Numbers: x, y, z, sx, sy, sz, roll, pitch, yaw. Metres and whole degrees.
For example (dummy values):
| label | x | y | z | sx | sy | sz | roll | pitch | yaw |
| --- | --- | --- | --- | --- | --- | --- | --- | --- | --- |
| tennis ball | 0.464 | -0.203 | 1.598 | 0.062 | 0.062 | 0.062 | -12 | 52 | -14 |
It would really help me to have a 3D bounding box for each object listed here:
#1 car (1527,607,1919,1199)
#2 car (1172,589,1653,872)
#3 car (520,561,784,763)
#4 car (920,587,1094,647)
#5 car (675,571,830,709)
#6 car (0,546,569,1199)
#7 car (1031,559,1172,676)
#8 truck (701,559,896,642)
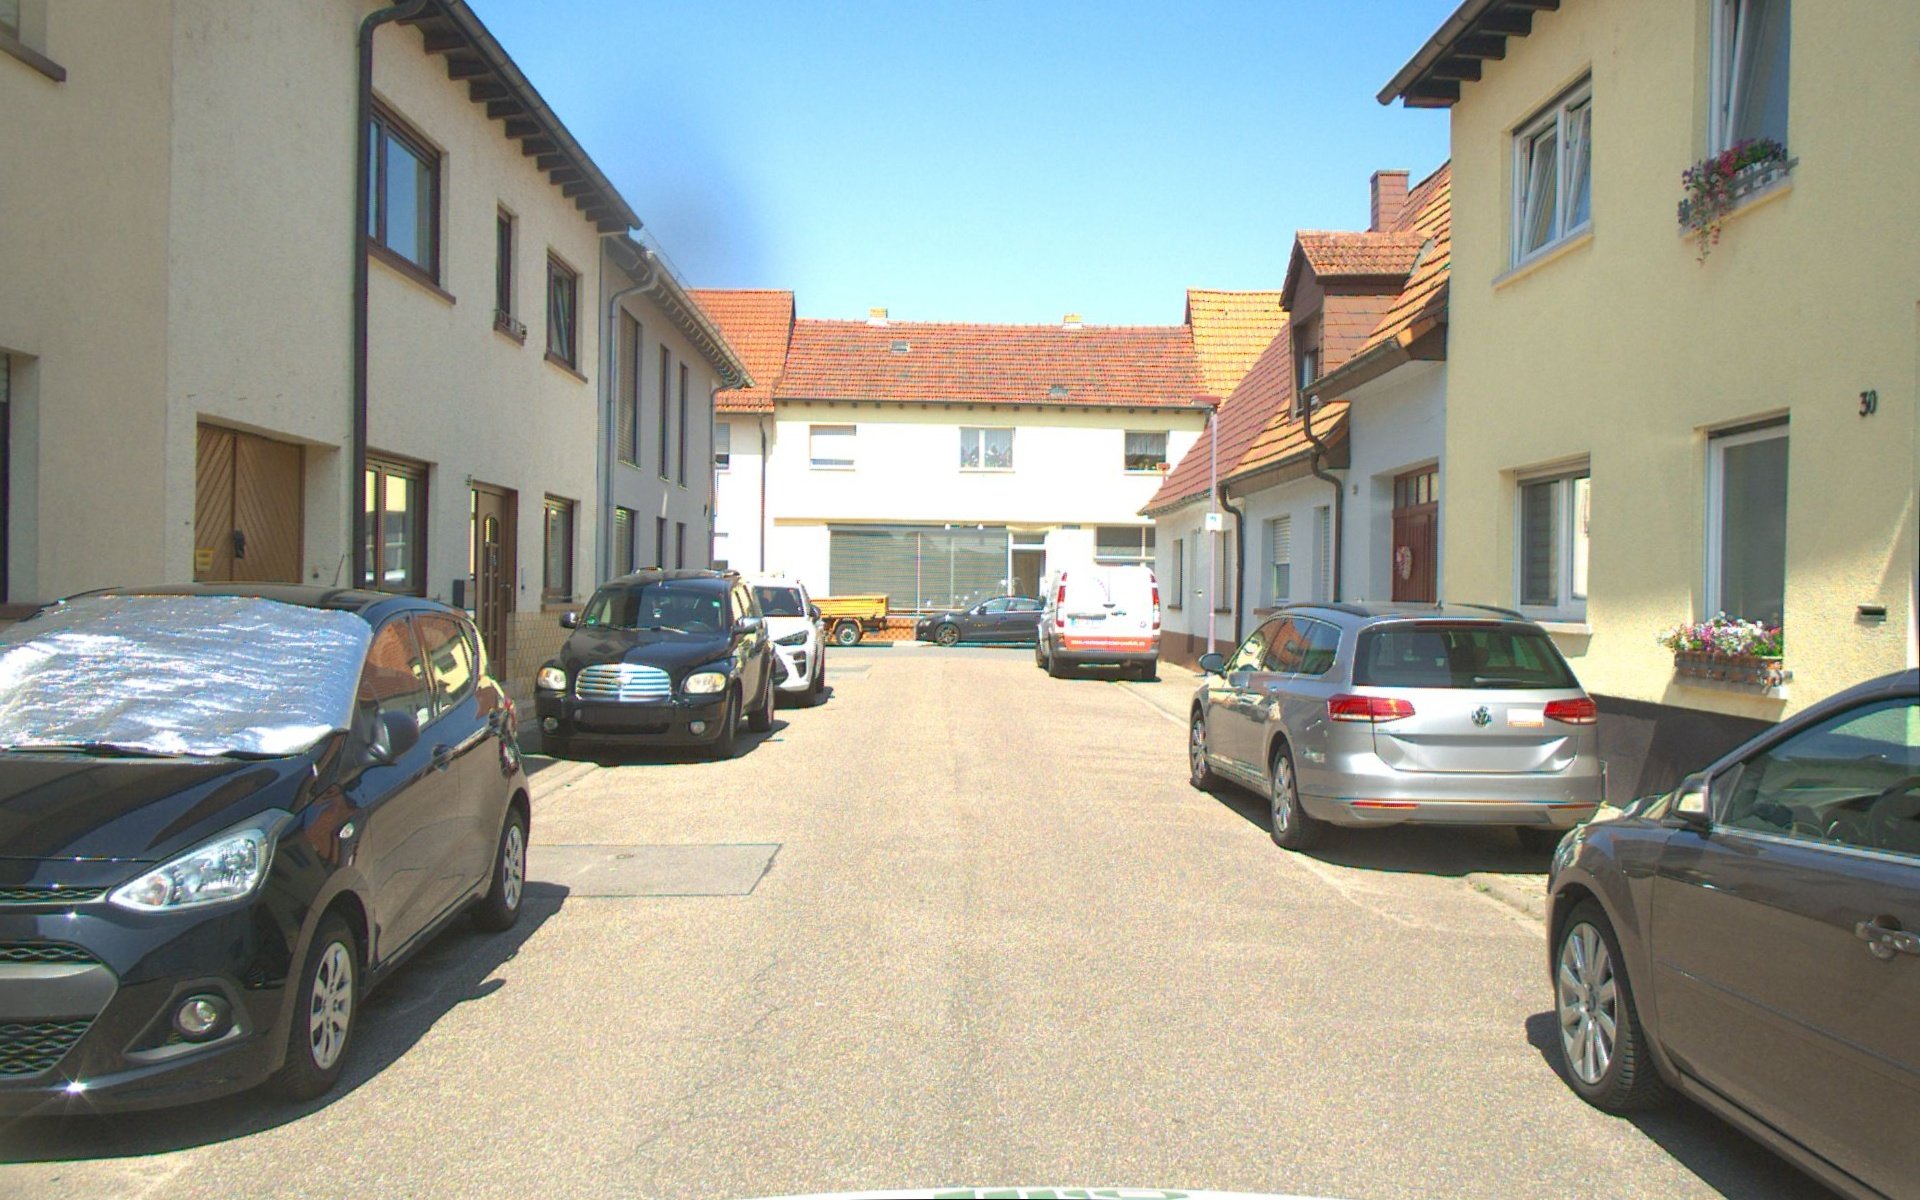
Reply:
| label | x | y | z | sx | sy | sz | roll | pitch | yaw |
| --- | --- | --- | --- | --- | --- | --- | --- | --- | --- |
| car | 2.807 | 0.791 | 3.484 | 1.662 | 1.460 | 4.101 | 2 | 0 | -2 |
| car | 2.755 | 0.696 | 11.317 | 1.801 | 1.473 | 4.774 | 2 | 0 | -2 |
| car | -2.732 | 0.497 | 15.529 | 1.687 | 1.643 | 3.989 | 0 | 0 | 1 |
| car | 1.206 | 0.469 | 44.158 | 4.524 | 1.419 | 1.927 | 1 | -3 | -3 |
| car | -2.655 | 0.468 | 22.013 | 1.739 | 1.643 | 4.346 | 0 | 0 | -3 |
| car | -2.596 | 0.647 | 5.874 | 1.607 | 1.564 | 3.941 | 0 | 0 | -2 |
| car | 2.438 | 0.274 | 29.822 | 1.972 | 1.871 | 5.264 | 2 | 0 | -1 |
| truck | -4.233 | 0.011 | 44.080 | 4.960 | 2.049 | 2.189 | 1 | 0 | -1 |
